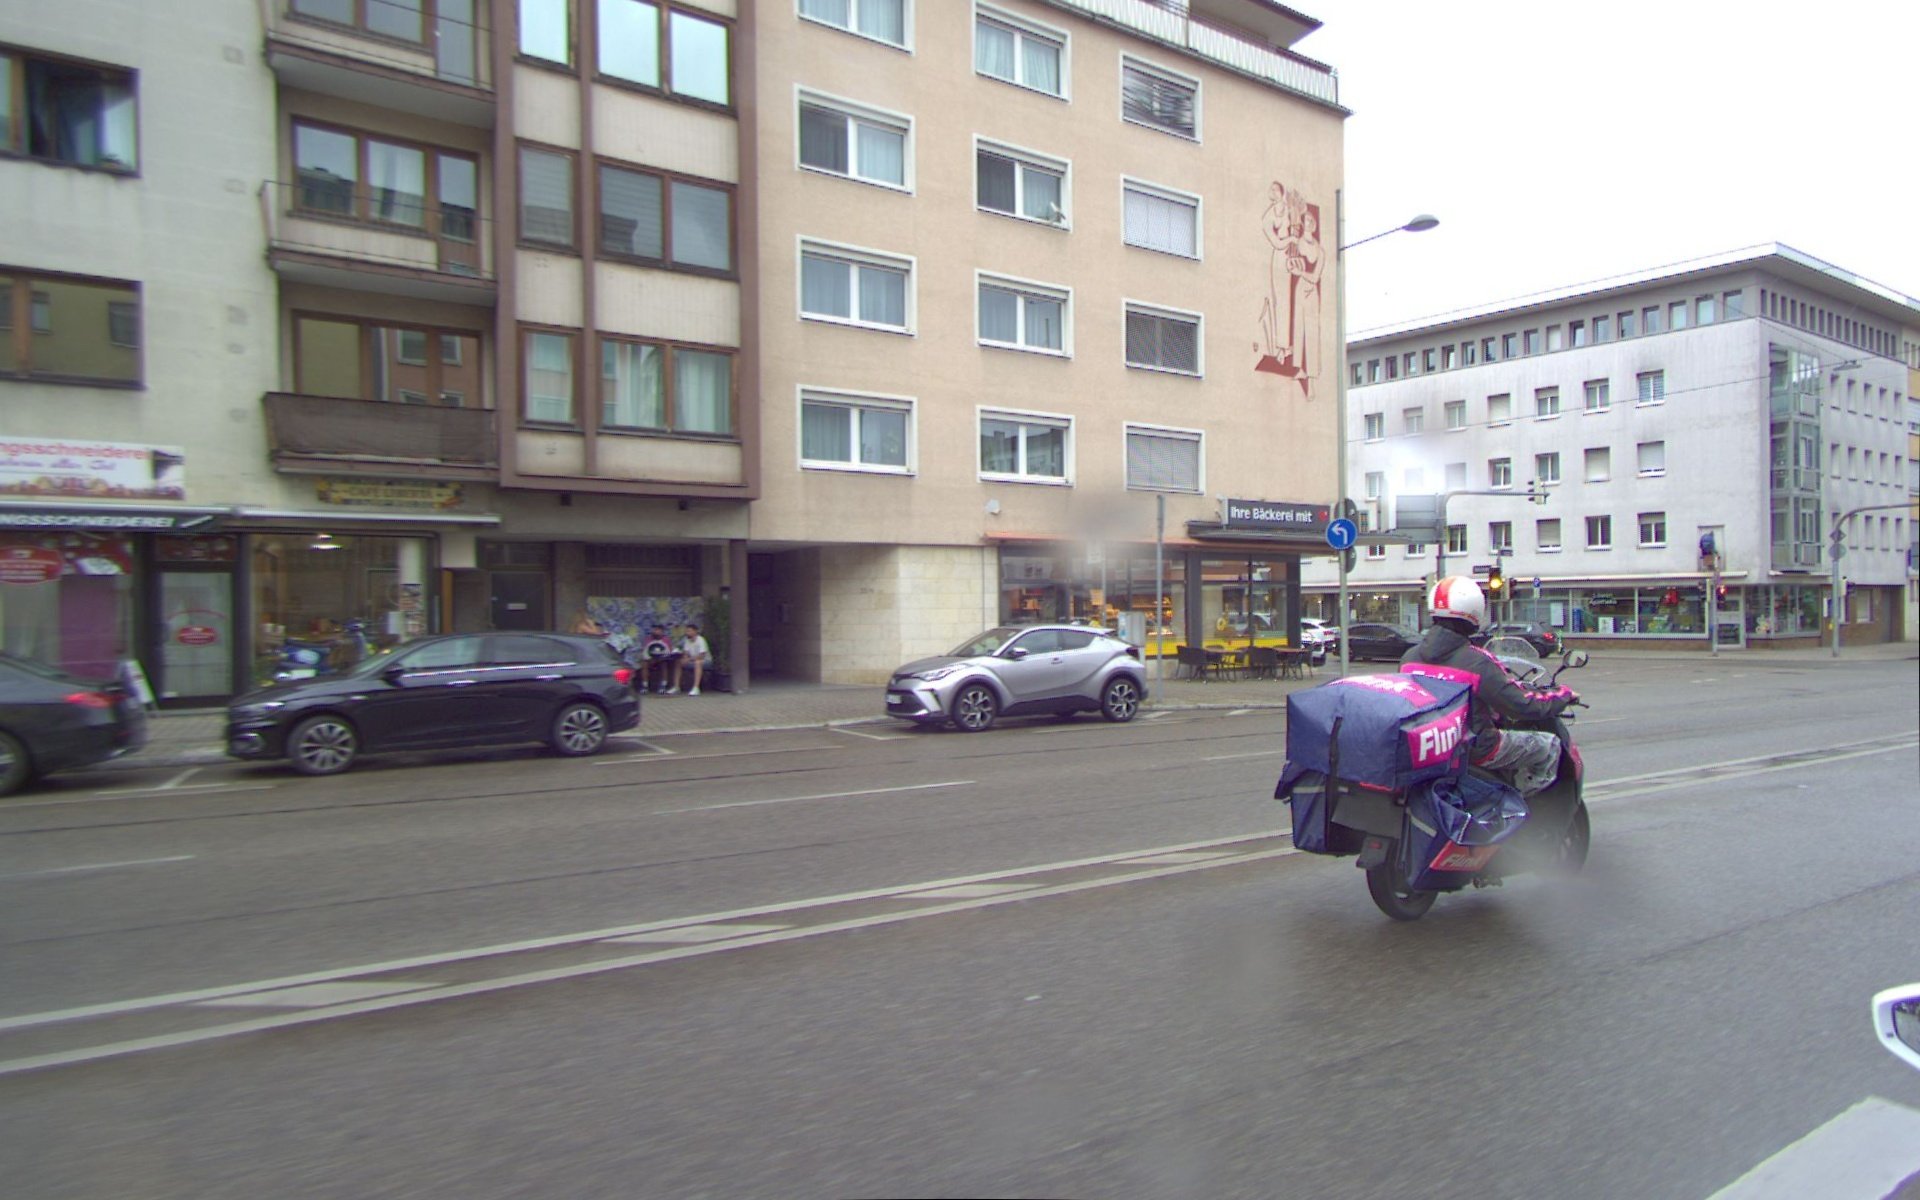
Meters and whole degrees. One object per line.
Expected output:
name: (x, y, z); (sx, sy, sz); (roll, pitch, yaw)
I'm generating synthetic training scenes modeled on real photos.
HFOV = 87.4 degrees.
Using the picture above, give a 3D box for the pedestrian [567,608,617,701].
pedestrian: (-6.473, 0.940, 17.666); (0.665, 1.604, 0.537); (1, -1, -44)

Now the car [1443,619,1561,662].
car: (21.981, 1.650, 40.787); (3.940, 1.648, 1.690); (-2, -3, 40)

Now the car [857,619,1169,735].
car: (0.871, 1.118, 15.683); (4.574, 1.574, 1.900); (1, -2, -29)

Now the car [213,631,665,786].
car: (-6.036, 1.138, 11.988); (4.470, 1.496, 1.982); (1, -2, -33)

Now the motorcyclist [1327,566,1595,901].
motorcyclist: (2.545, 0.599, 5.145); (0.856, 1.513, 0.909); (1, 1, -35)

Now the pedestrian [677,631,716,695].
pedestrian: (-4.953, 1.175, 18.920); (0.583, 1.163, 0.674); (0, -1, -3)

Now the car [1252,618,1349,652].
car: (17.499, 1.798, 51.721); (2.032, 1.653, 4.285); (1, -2, -43)

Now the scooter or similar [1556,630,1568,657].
scooter or similar: (25.996, 1.872, 43.366); (0.359, 1.109, 1.131); (-2, 1, 35)

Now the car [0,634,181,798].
car: (-10.430, 1.097, 9.285); (4.925, 1.496, 1.872); (1, -3, -33)

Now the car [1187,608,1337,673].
car: (10.473, 1.402, 35.141); (2.026, 2.130, 4.820); (3, -3, -35)

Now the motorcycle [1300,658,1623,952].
motorcycle: (2.678, 0.952, 5.251); (2.081, 1.207, 0.583); (1, 1, -35)

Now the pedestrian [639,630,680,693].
pedestrian: (-5.694, 1.152, 19.029); (0.625, 1.163, 0.605); (1, -1, -30)

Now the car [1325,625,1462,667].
car: (16.200, 1.663, 37.684); (2.028, 1.394, 4.292); (-2, 0, -39)
